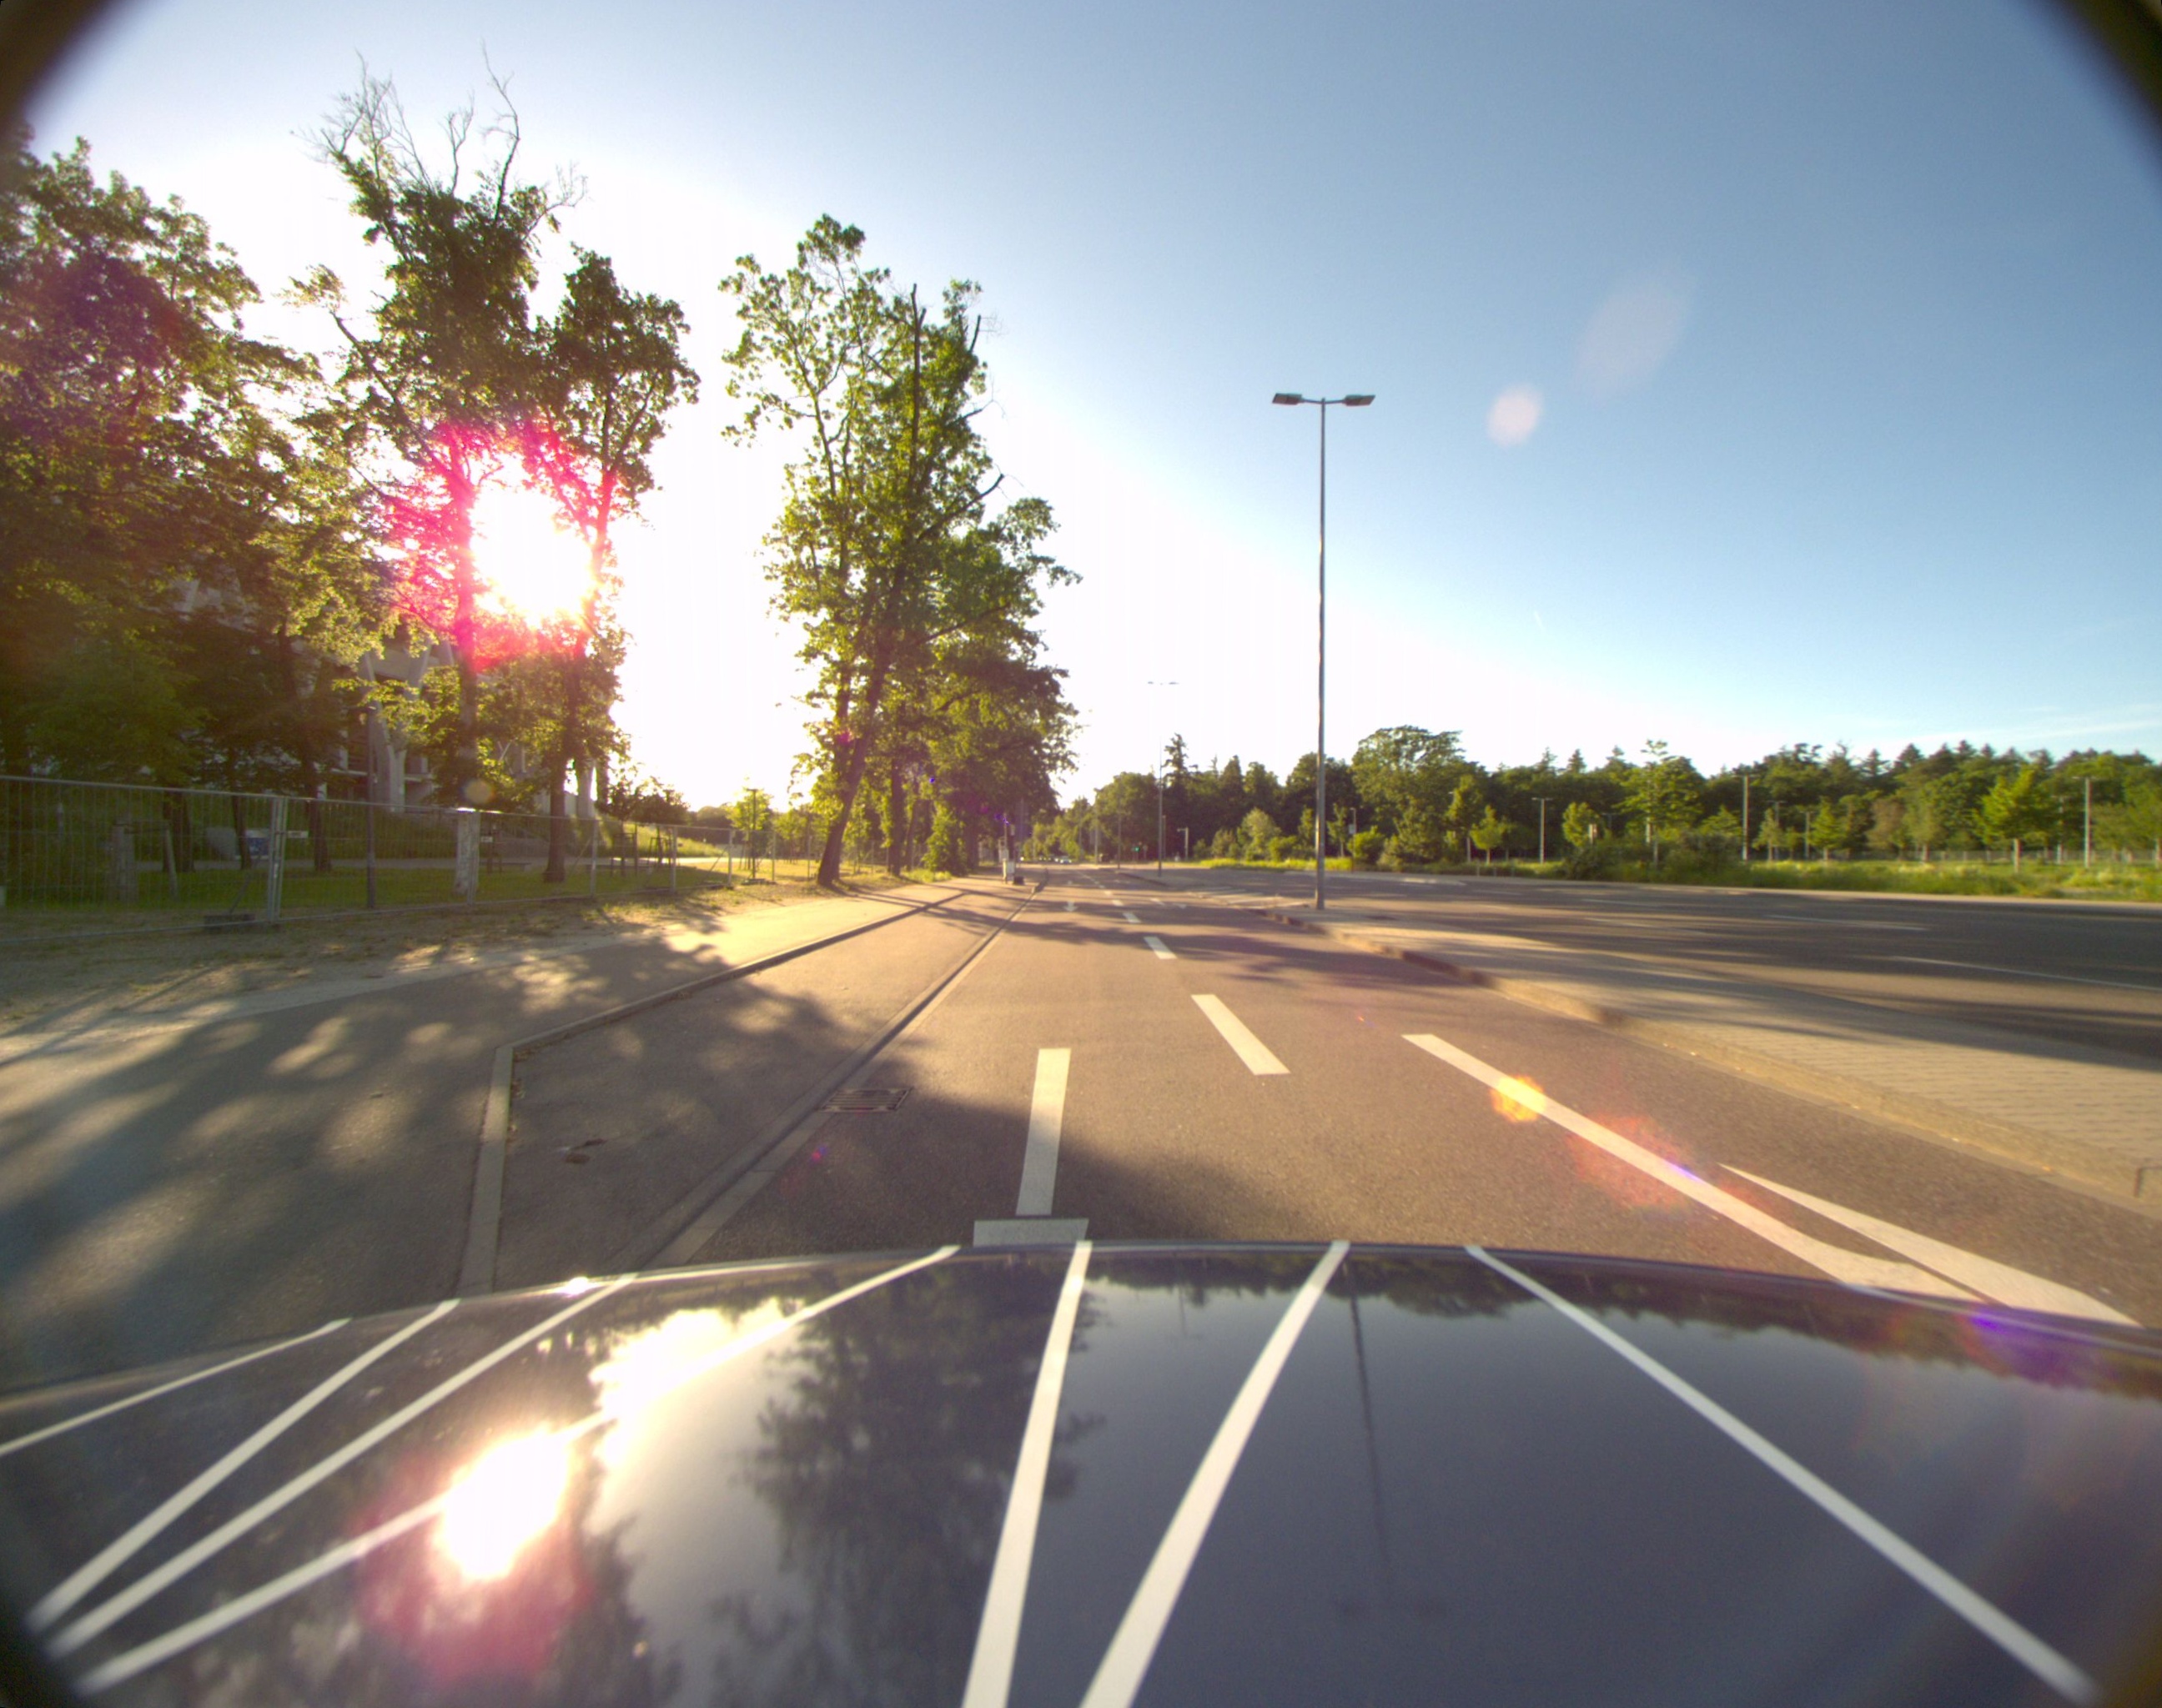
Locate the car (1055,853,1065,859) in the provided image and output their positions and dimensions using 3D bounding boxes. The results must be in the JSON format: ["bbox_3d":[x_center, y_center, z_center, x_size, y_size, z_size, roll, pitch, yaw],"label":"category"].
[{"bbox_3d":[-4.499,0.417,162.257,1.841,1.395,4.990,-1,0,-4],"label":"car"}]

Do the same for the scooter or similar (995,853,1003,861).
[{"bbox_3d":[-12.947,0.526,119.519,1.303,1.230,0.334,0,0,-38],"label":"scooter or similar"}]

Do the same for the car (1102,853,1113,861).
[{"bbox_3d":[5.311,0.592,150.120,1.788,1.682,4.701,-1,0,-2],"label":"car"}]

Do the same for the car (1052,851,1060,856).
[{"bbox_3d":[-6.532,-0.194,198.853,1.841,1.395,4.991,1,0,-1],"label":"car"}]

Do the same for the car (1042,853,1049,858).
[{"bbox_3d":[-10.706,0.396,229.349,1.842,1.395,4.989,-1,0,-5],"label":"car"}]

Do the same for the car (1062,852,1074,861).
[{"bbox_3d":[-2.303,0.412,133.157,1.841,1.395,3.998,-1,0,-4],"label":"car"}]
